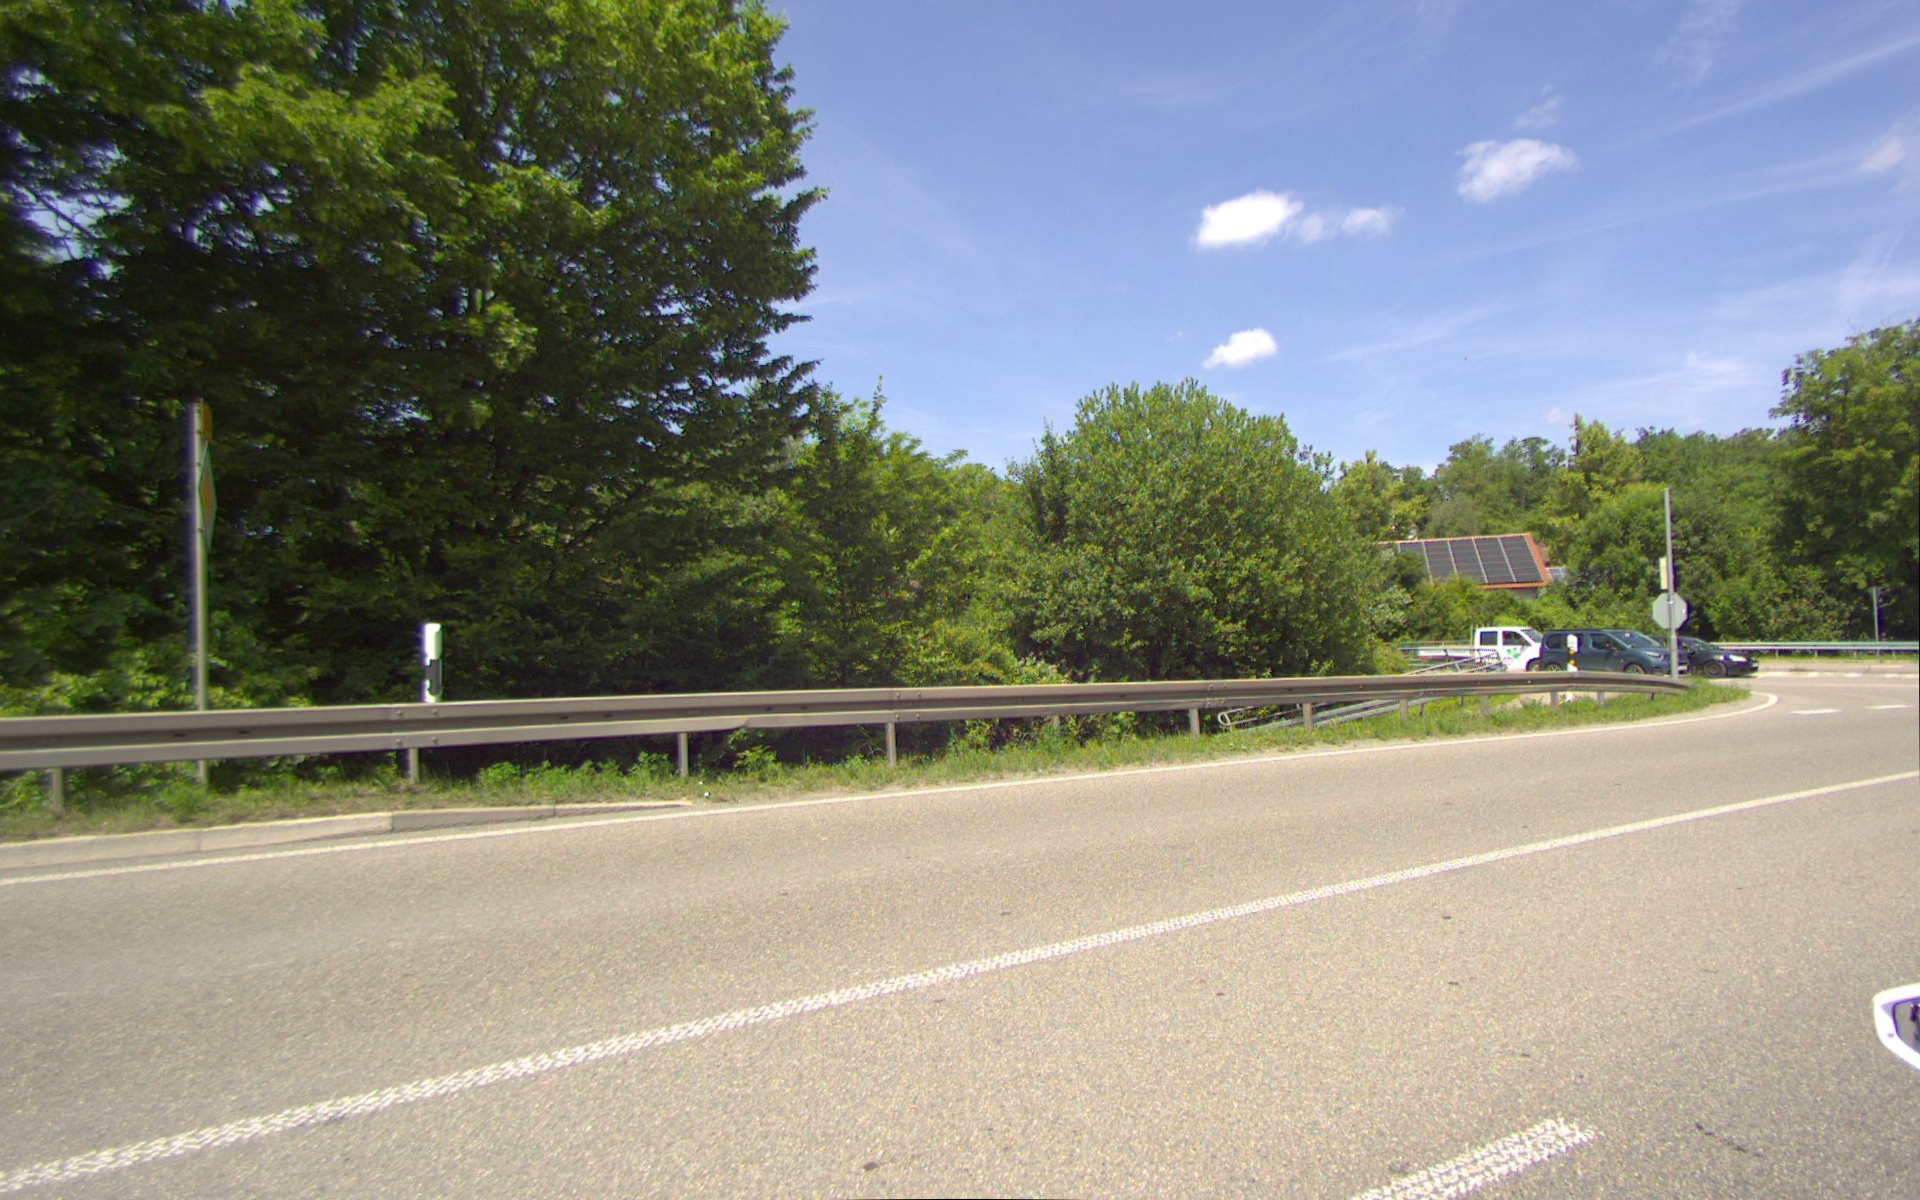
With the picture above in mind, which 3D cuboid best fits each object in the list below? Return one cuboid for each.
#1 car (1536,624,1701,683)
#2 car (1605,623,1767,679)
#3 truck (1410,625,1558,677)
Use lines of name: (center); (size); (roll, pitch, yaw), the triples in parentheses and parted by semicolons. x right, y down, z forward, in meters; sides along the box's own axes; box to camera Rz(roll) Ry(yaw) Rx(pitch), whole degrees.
car: (21.440, 1.700, 32.904); (1.970, 1.793, 4.229); (1, -2, -20)
car: (25.043, 1.721, 34.825); (1.970, 1.793, 4.229); (1, -2, -20)
truck: (20.905, 2.009, 40.208); (2.028, 1.815, 4.832); (4, -1, -41)
